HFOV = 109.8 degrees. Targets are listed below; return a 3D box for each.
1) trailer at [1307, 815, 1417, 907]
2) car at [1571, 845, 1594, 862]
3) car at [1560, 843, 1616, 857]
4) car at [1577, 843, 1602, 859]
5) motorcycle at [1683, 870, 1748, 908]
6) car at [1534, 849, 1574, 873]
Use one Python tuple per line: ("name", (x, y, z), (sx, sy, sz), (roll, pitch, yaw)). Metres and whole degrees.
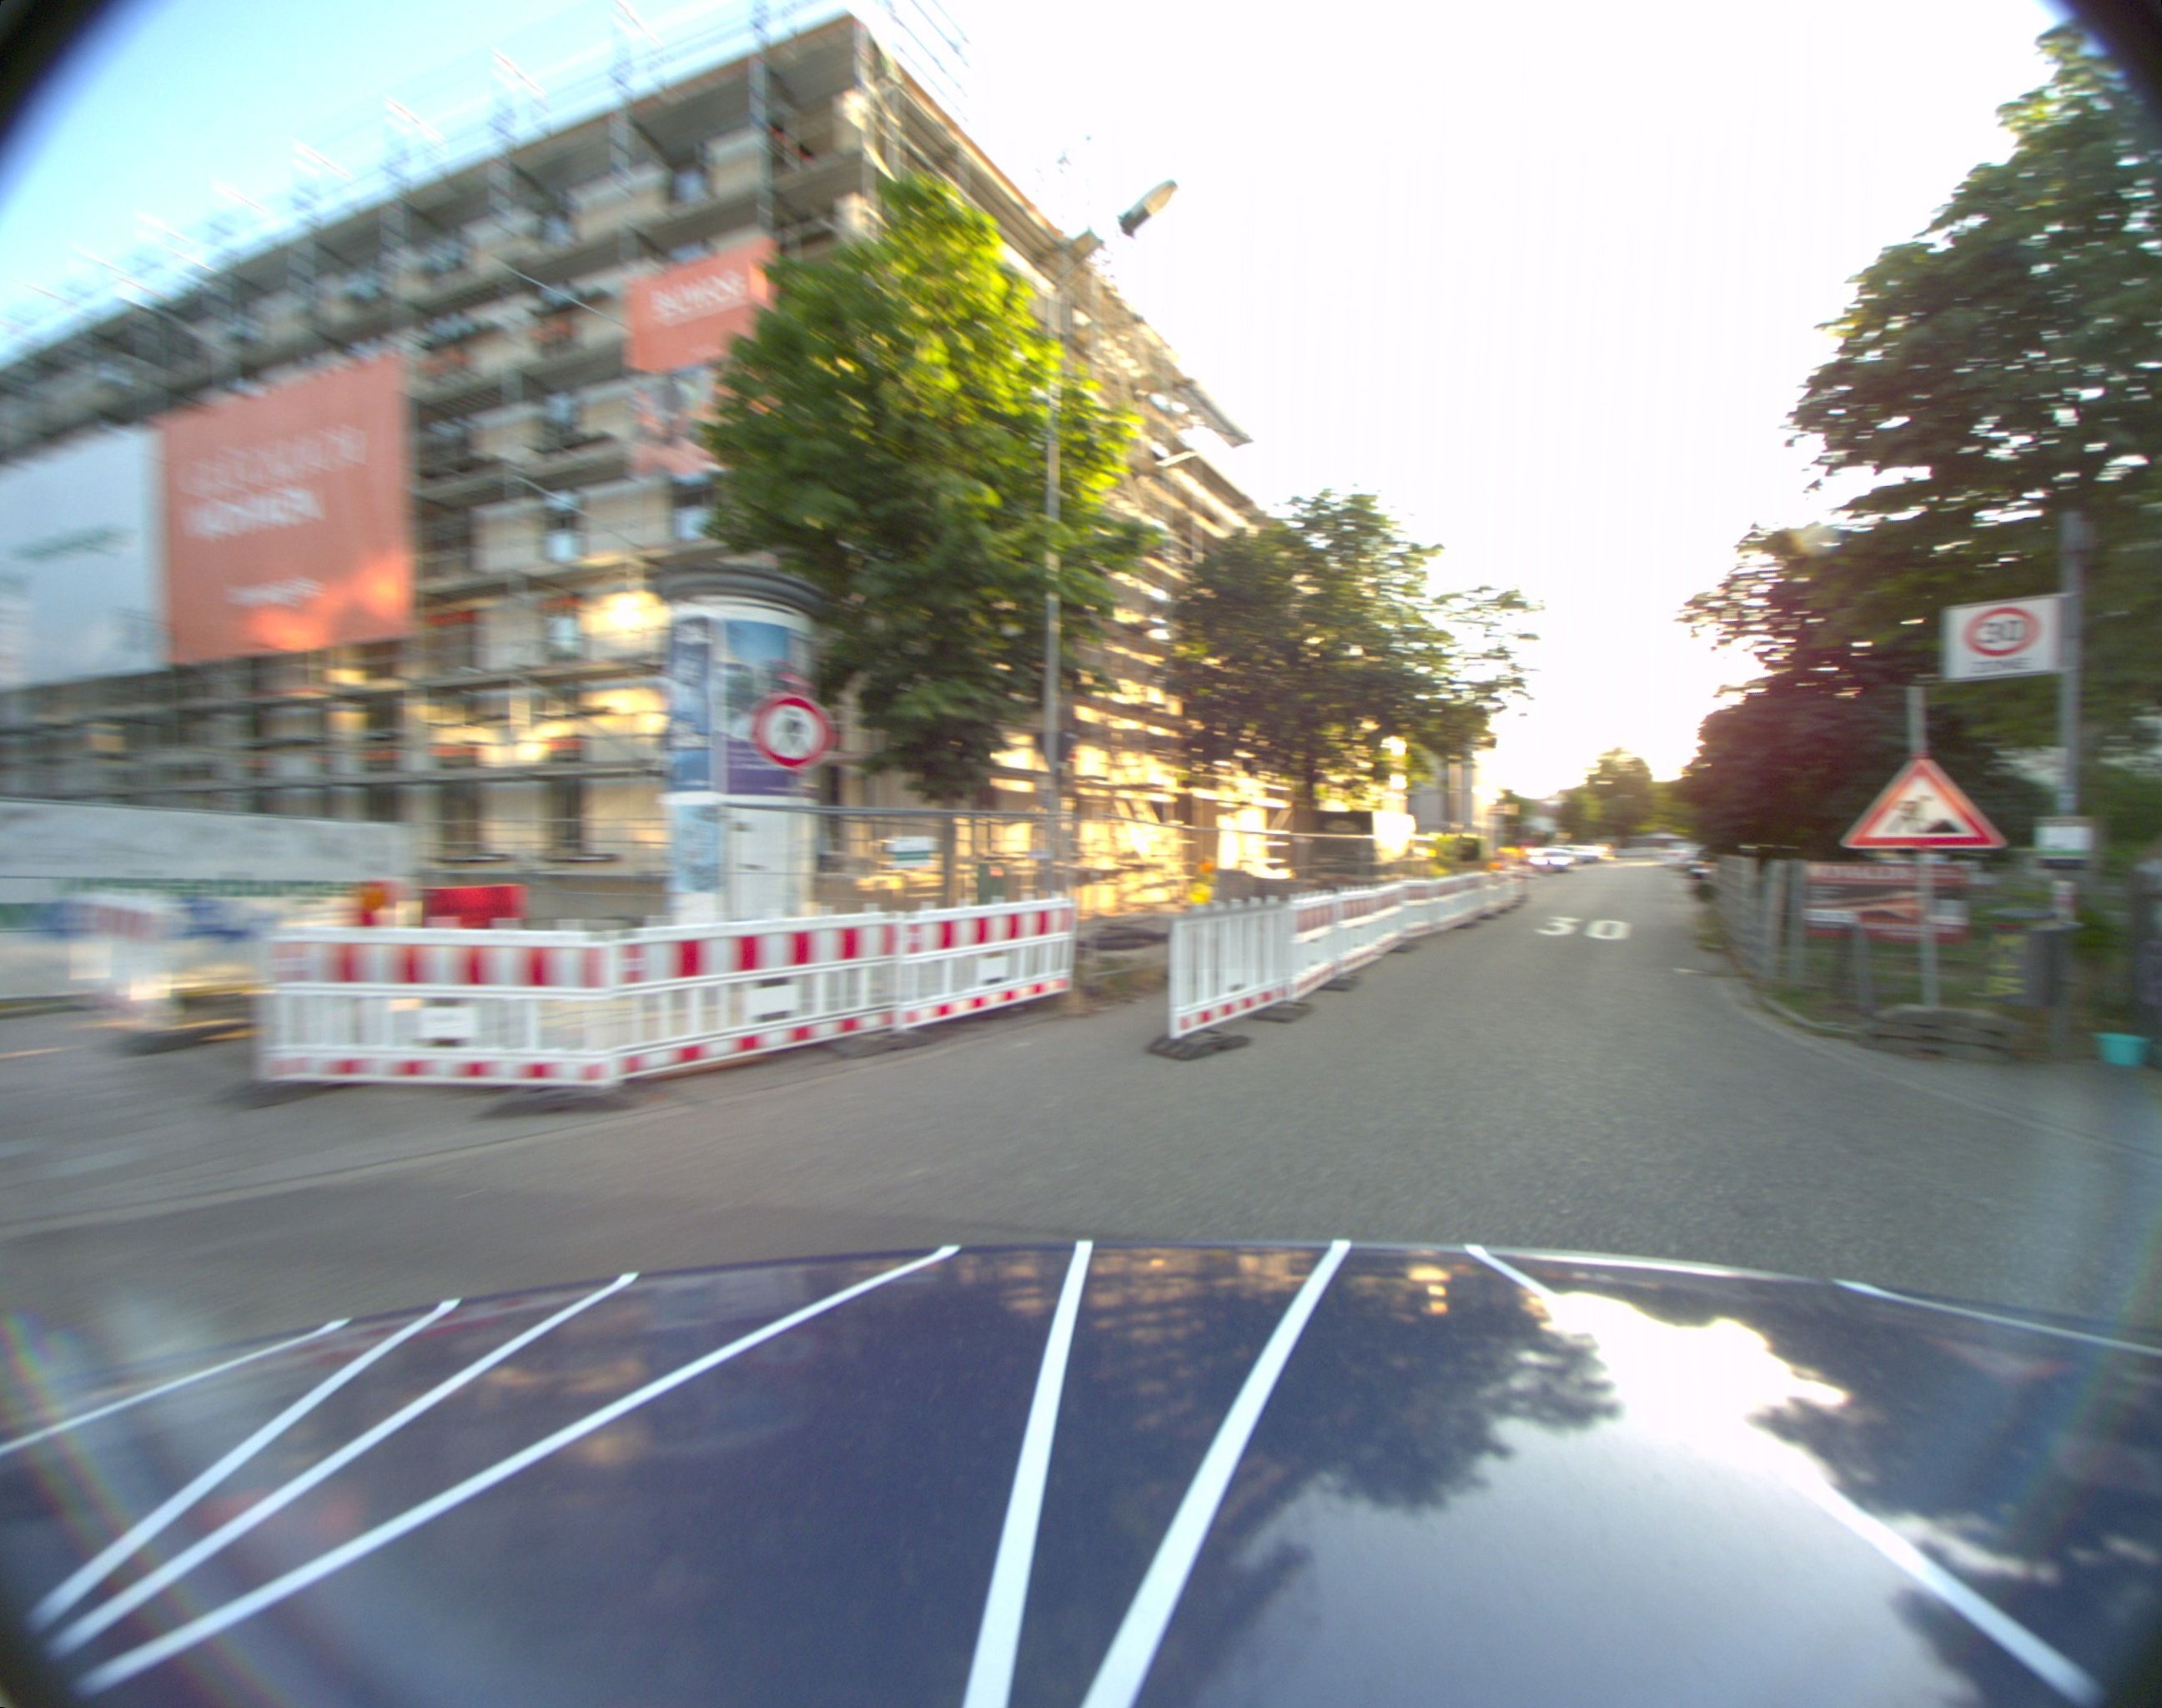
("trailer", (8.657, 0.175, 23.180), (1.994, 2.525, 4.194), (1, 1, 37))
("car", (43.128, -0.079, 65.308), (1.615, 1.461, 4.005), (0, 1, 34))
("car", (53.363, -0.462, 79.986), (4.819, 1.390, 1.774), (2, 1, 37))
("car", (49.487, -0.300, 73.922), (1.741, 1.461, 3.766), (1, 1, 37))
("motorcycle", (19.024, 1.025, 22.771), (2.214, 1.015, 0.538), (-2, -1, -24))
("car", (29.419, 0.385, 47.205), (1.776, 1.389, 4.116), (0, 1, 36))
